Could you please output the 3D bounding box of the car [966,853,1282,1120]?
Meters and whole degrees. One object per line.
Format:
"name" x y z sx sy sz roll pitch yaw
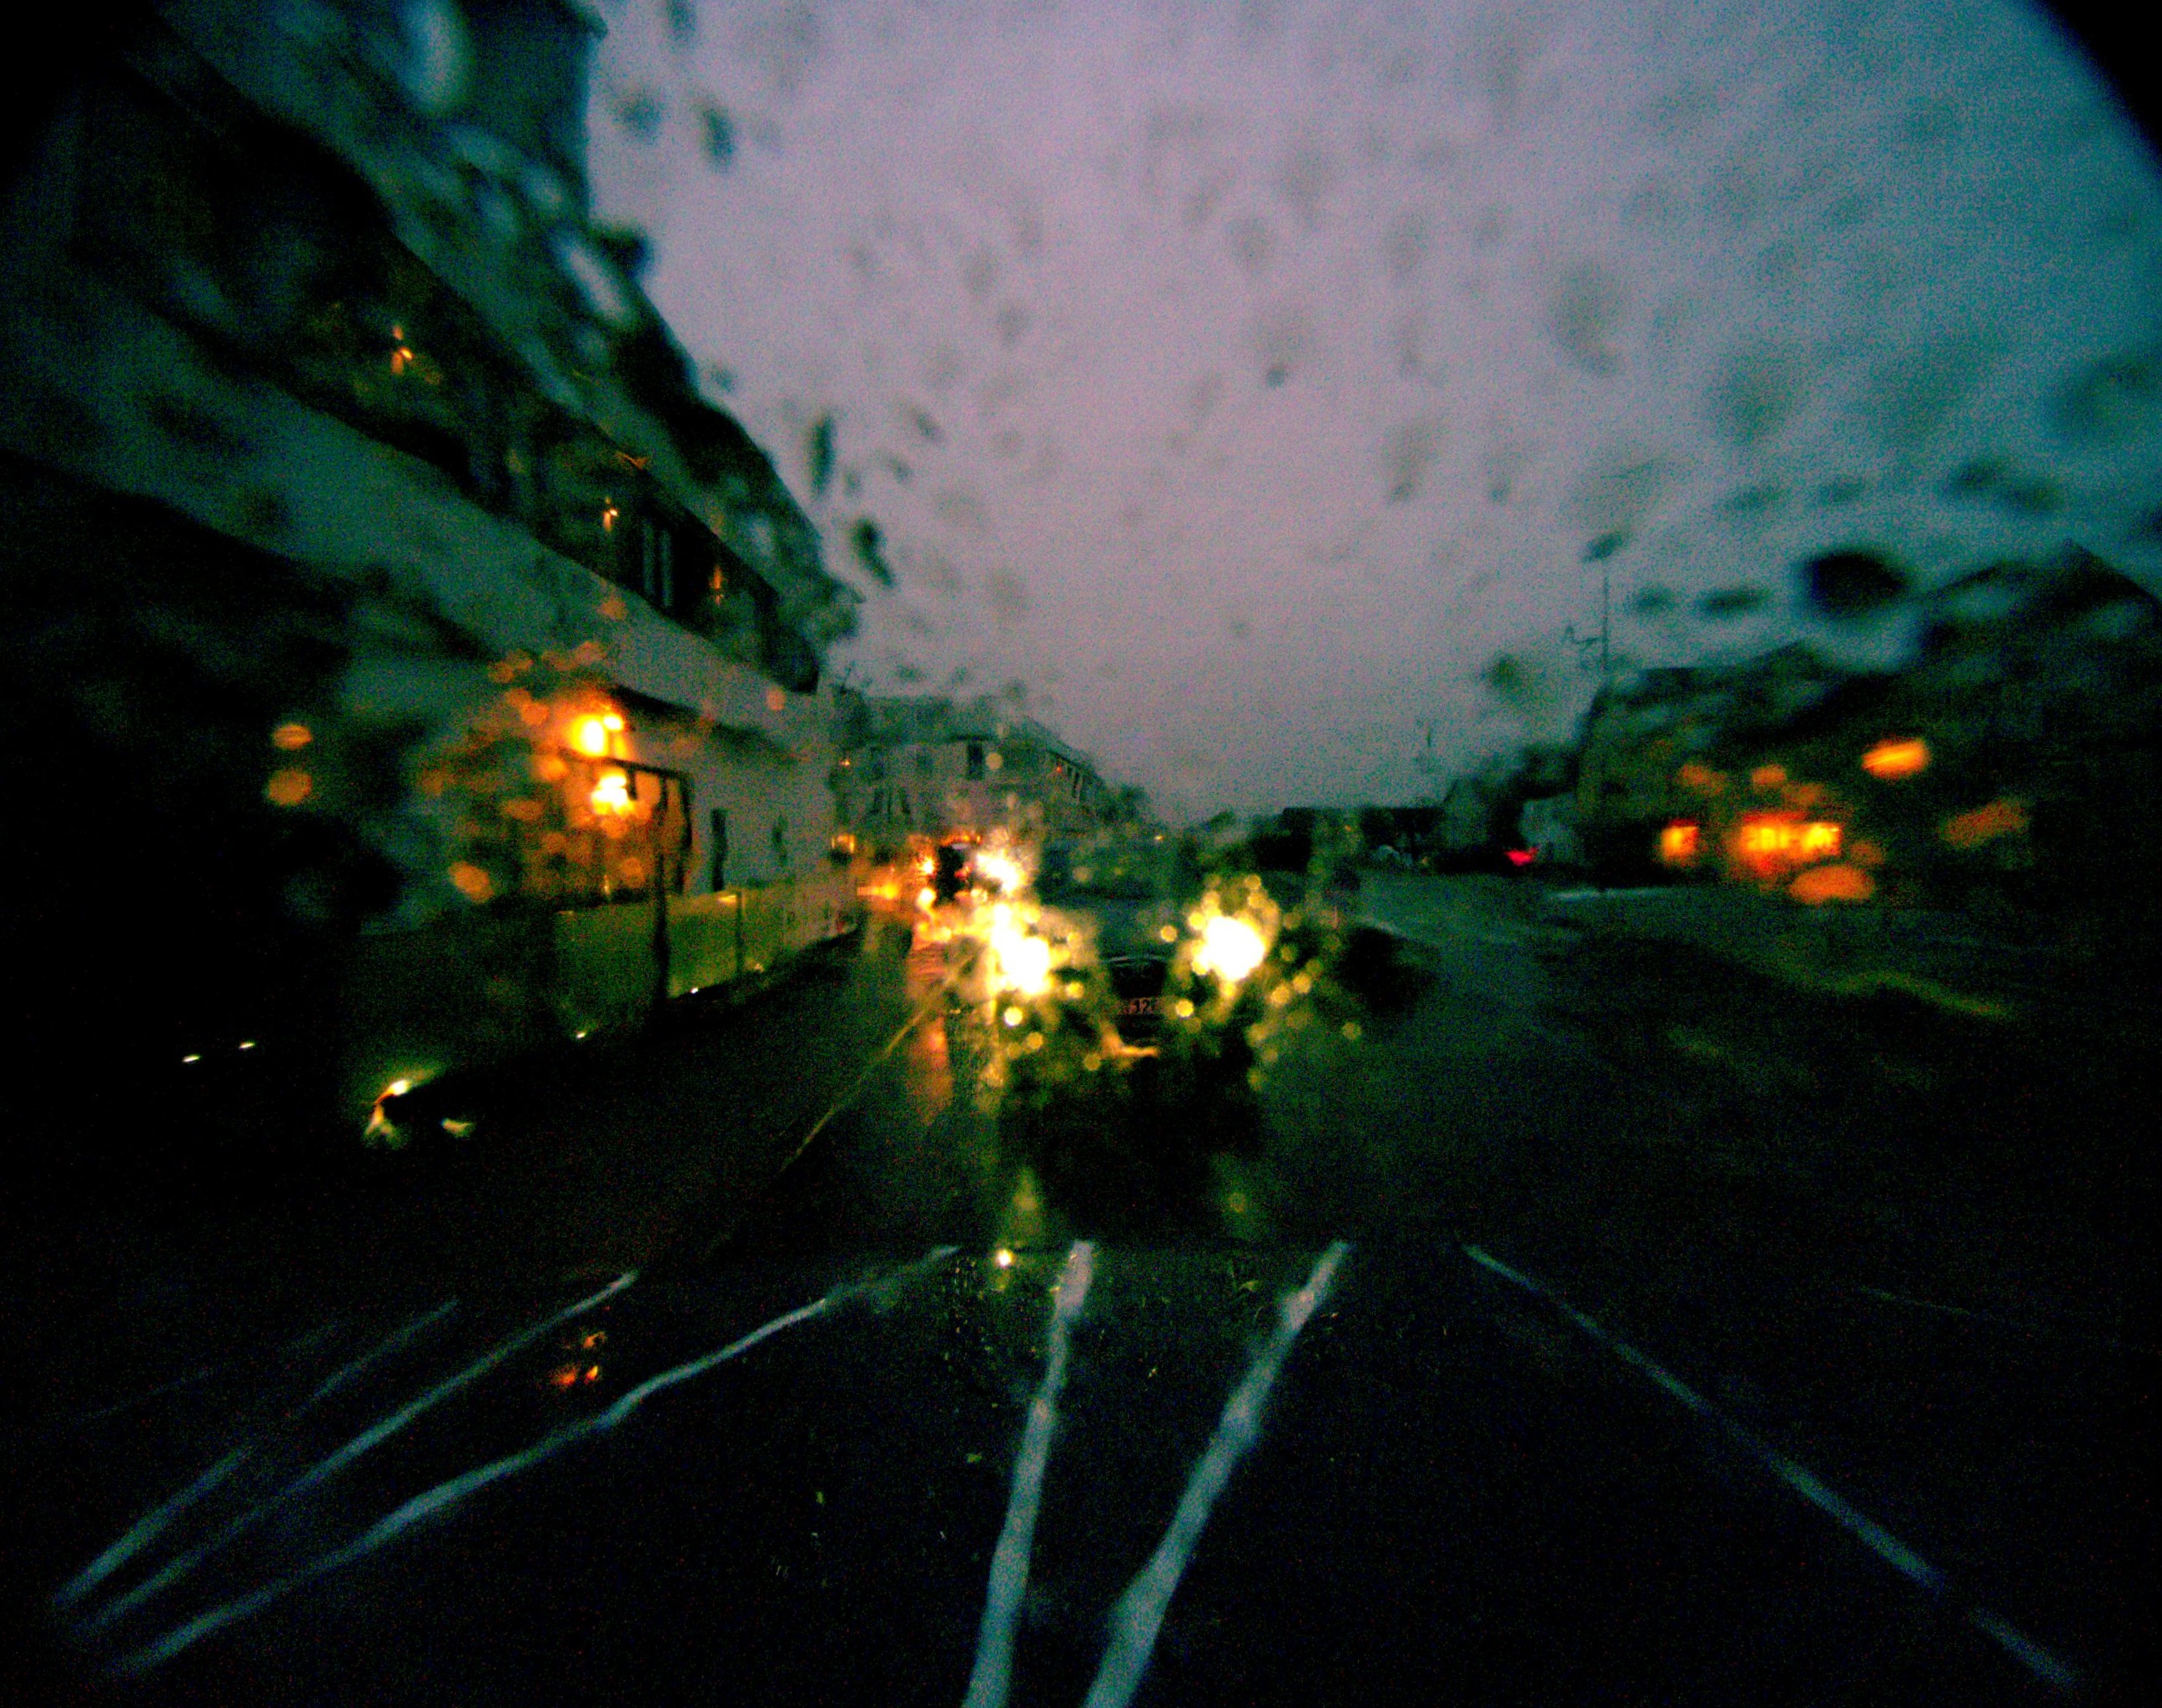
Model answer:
"car" 0.237 0.828 6.828 1.958 1.576 4.109 -1 1 -1

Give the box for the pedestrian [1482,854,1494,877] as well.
"pedestrian" 29.688 0.829 55.437 0.582 1.602 0.500 -2 3 5

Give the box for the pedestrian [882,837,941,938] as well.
"pedestrian" -3.282 0.617 14.707 0.789 1.856 0.711 1 4 44

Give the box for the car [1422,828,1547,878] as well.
"car" 17.799 -0.088 33.664 2.003 2.003 4.451 -4 3 -40

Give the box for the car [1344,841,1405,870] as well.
"car" 21.904 0.087 56.813 1.974 1.984 3.990 -3 3 -26

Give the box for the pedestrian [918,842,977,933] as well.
"pedestrian" -2.686 0.647 15.278 0.789 1.752 0.769 1 4 44

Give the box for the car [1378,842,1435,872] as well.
"car" 24.527 0.188 57.382 1.926 2.003 3.966 -3 3 -13

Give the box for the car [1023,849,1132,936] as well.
"car" -0.214 0.701 16.145 1.764 1.471 4.016 -2 2 -8

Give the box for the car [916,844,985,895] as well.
"car" -5.231 0.568 30.963 1.824 1.736 3.999 -2 3 4

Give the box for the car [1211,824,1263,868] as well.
"car" 8.007 -0.461 38.601 2.055 1.976 4.541 -1 3 18

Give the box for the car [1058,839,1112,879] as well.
"car" 0.200 0.174 33.251 2.172 1.469 3.998 -2 3 0

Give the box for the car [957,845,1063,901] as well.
"car" -2.412 0.533 24.706 2.031 1.471 4.547 -3 3 -24

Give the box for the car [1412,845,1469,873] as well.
"car" 27.203 0.350 57.675 1.936 1.871 3.866 -3 3 -13
